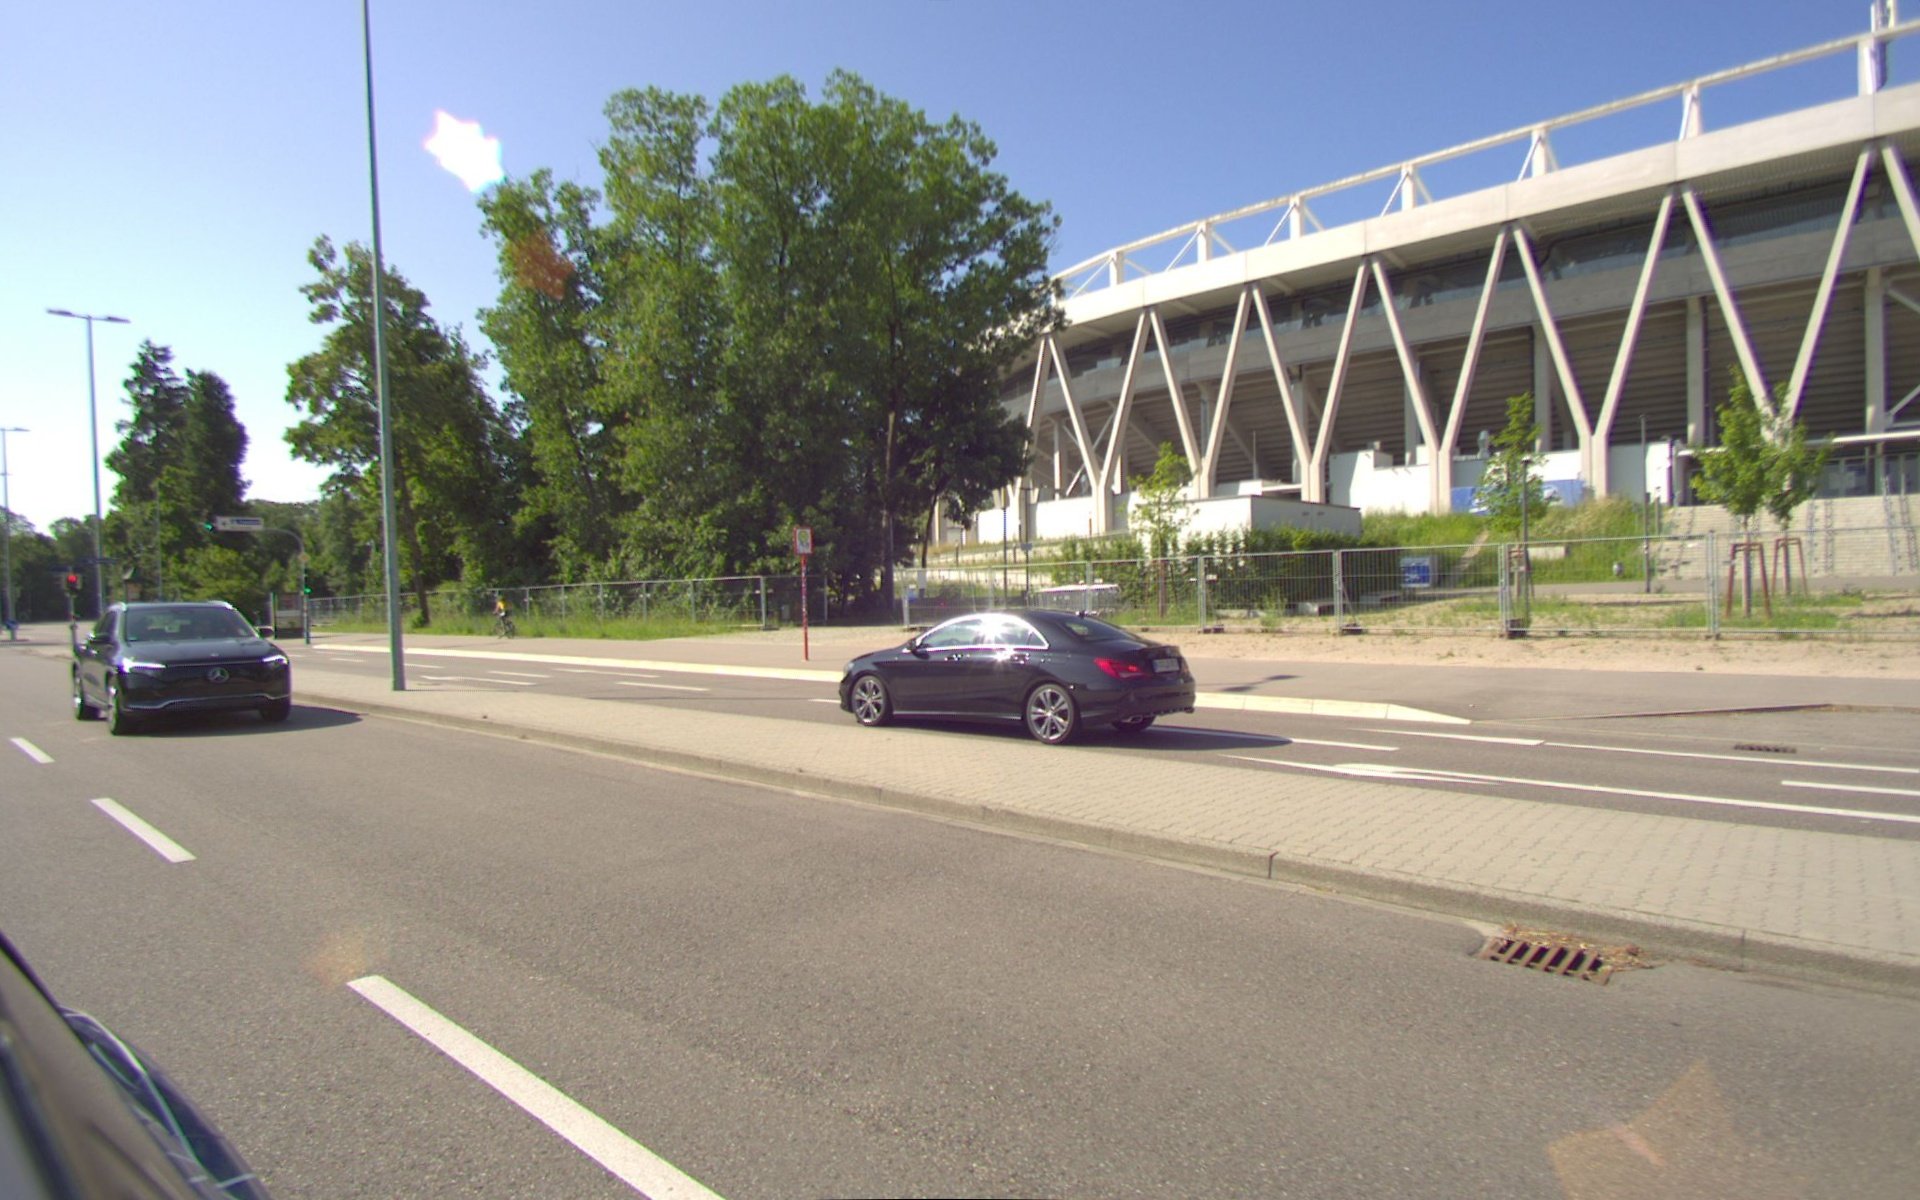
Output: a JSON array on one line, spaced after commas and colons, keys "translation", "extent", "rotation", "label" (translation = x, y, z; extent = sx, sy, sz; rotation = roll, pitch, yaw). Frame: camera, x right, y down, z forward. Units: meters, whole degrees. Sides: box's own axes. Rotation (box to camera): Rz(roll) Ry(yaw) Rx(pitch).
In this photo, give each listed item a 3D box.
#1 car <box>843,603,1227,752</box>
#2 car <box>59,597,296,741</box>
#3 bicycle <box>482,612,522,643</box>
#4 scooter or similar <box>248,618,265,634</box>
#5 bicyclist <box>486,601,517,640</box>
[{"translation": [0.723, 0.778, 11.587], "extent": [4.160, 1.398, 1.792], "rotation": [-1, -2, 41], "label": "car"}, {"translation": [-10.576, 0.814, 13.562], "extent": [4.272, 1.608, 1.785], "rotation": [-1, 0, 42], "label": "car"}, {"translation": [-18.102, 1.085, 39.975], "extent": [1.877, 1.144, 0.653], "rotation": [-2, 2, 41], "label": "bicycle"}, {"translation": [-56.430, 2.093, 81.202], "extent": [0.393, 1.231, 1.075], "rotation": [-2, 0, 19], "label": "scooter or similar"}, {"translation": [-18.107, 0.810, 39.966], "extent": [1.057, 1.478, 0.653], "rotation": [-2, 2, 41], "label": "bicyclist"}]
